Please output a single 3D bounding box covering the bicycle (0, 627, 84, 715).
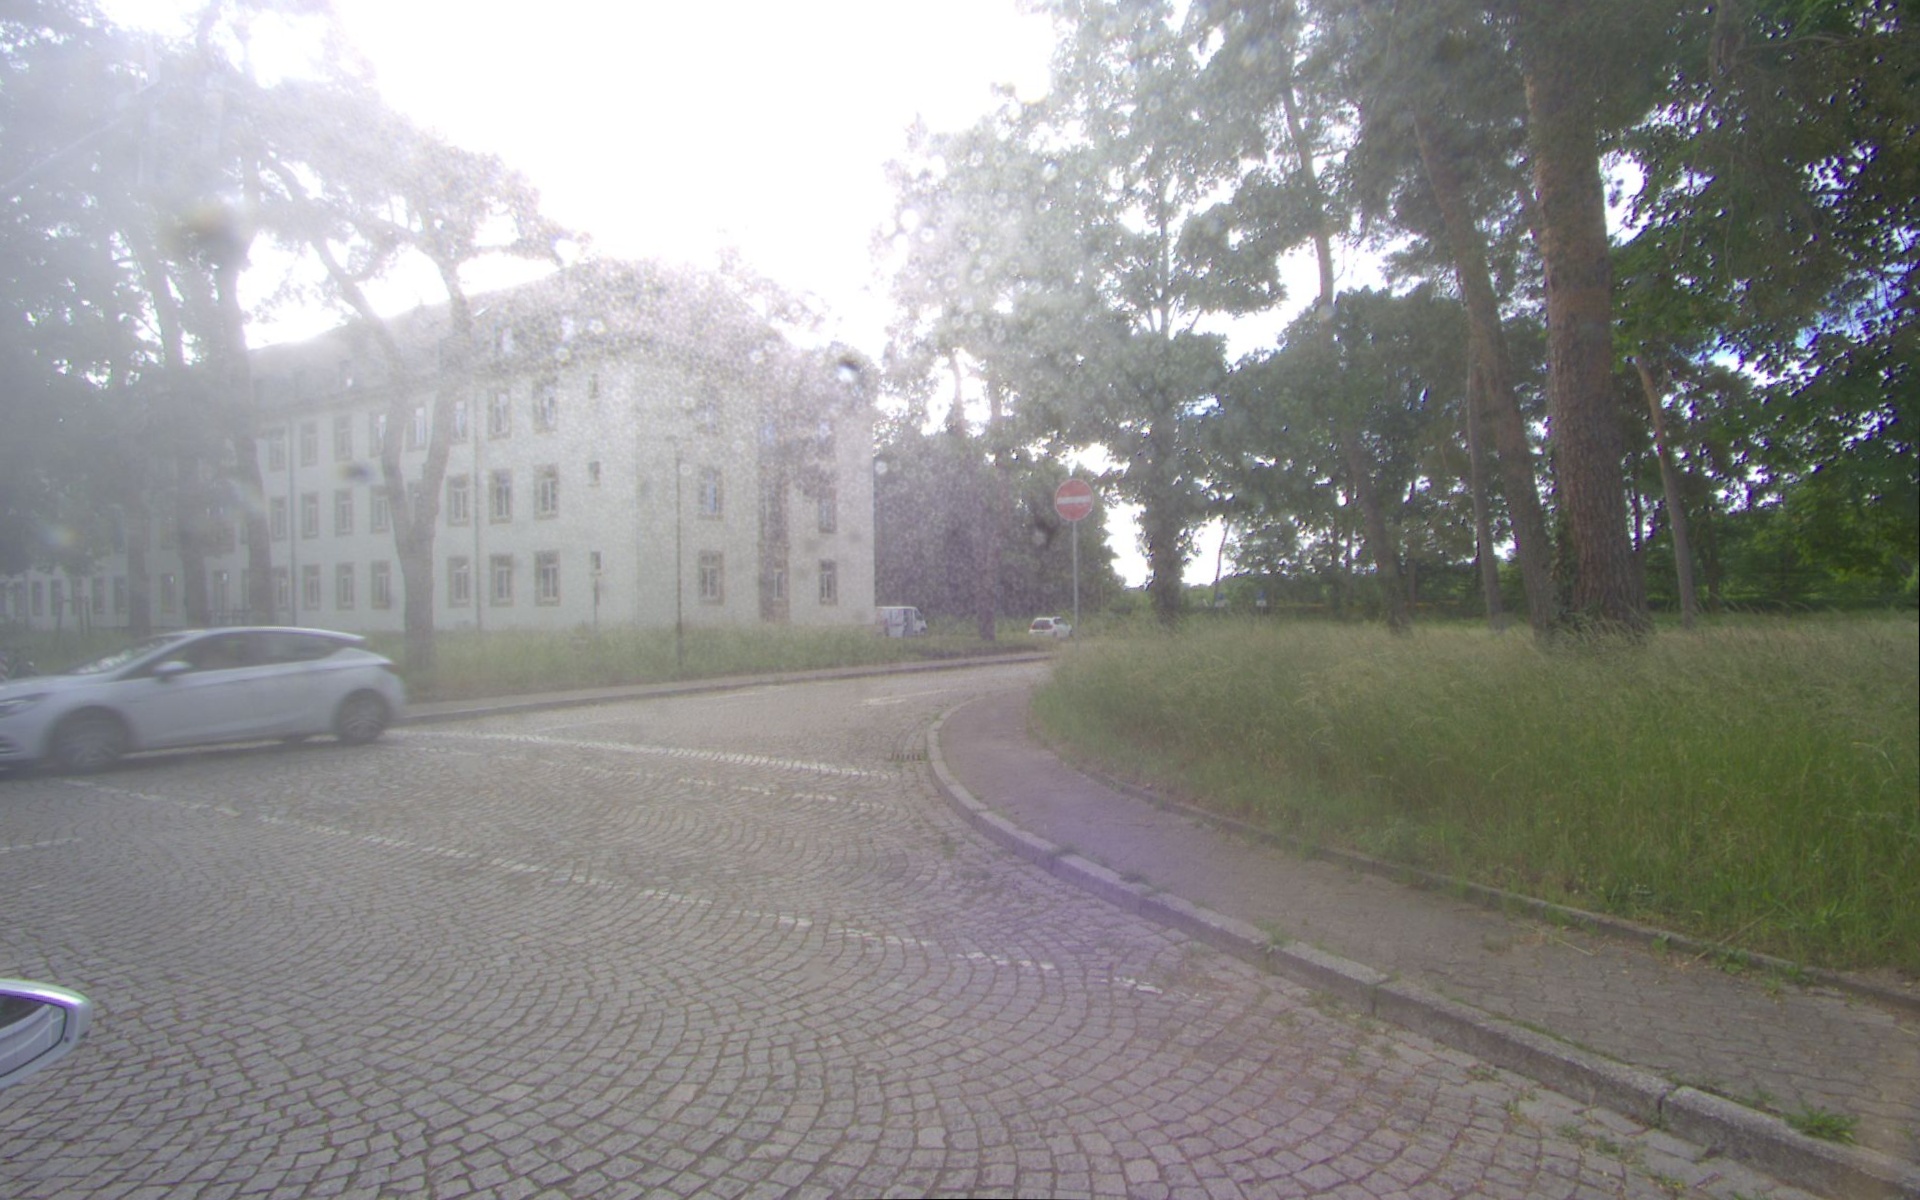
[{"bbox_3d":[-13.708,0.994,14.533,1.845,1.192,0.908,-1,0,29],"label":"bicycle"}]

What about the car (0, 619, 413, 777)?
[{"bbox_3d":[-8.757,0.964,11.265,1.859,1.434,4.239,-2,-2,29],"label":"car"}]

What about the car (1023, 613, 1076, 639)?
[{"bbox_3d":[5.457,1.544,60.835,1.970,1.527,3.477,-1,-1,30],"label":"car"}]

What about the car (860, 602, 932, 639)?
[{"bbox_3d":[-4.148,1.292,65.429,2.180,2.318,5.173,-1,-1,30],"label":"car"}]
